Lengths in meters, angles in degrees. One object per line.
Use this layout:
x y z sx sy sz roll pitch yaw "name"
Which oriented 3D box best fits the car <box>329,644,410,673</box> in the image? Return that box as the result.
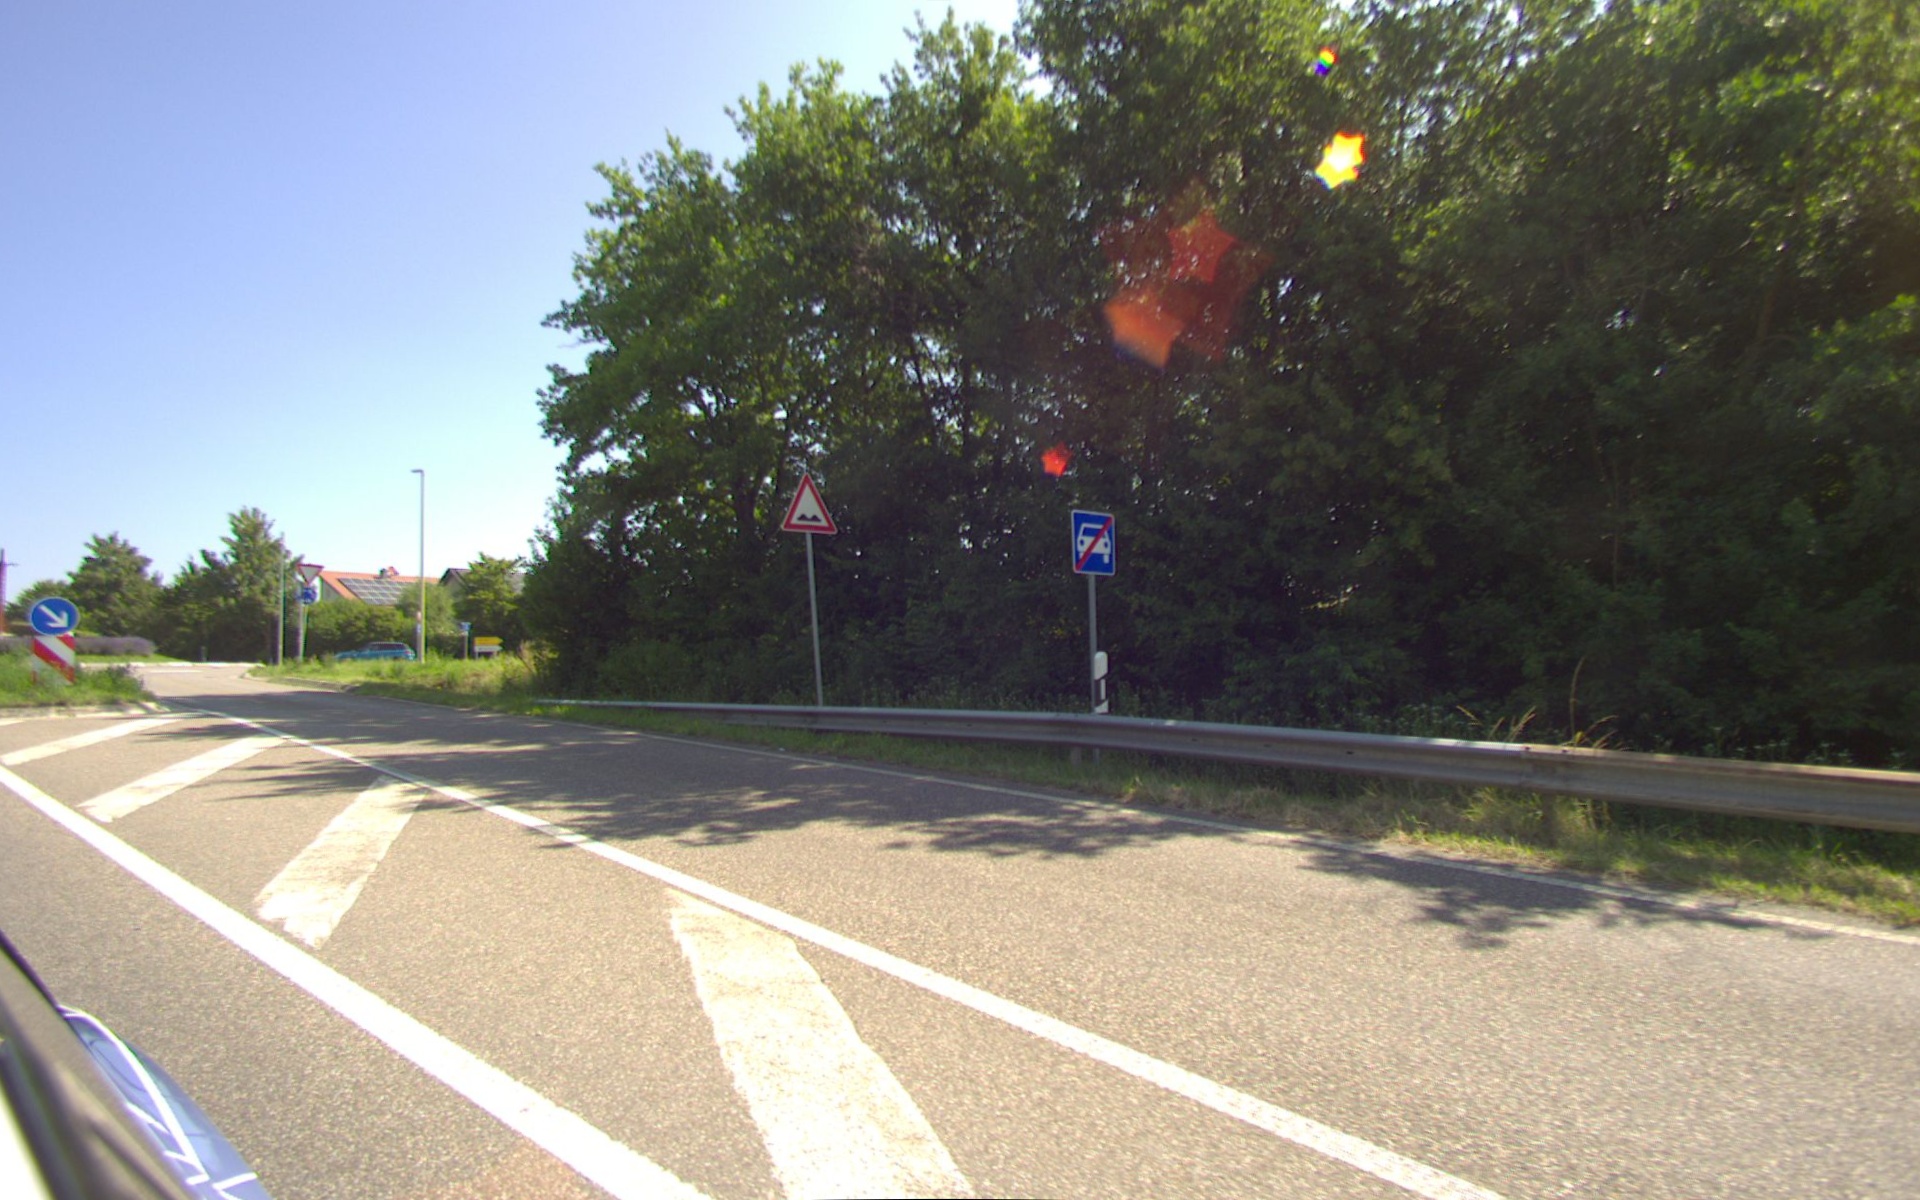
-33.935 3.360 58.292 3.931 1.588 1.654 1 -4 -27 "car"
